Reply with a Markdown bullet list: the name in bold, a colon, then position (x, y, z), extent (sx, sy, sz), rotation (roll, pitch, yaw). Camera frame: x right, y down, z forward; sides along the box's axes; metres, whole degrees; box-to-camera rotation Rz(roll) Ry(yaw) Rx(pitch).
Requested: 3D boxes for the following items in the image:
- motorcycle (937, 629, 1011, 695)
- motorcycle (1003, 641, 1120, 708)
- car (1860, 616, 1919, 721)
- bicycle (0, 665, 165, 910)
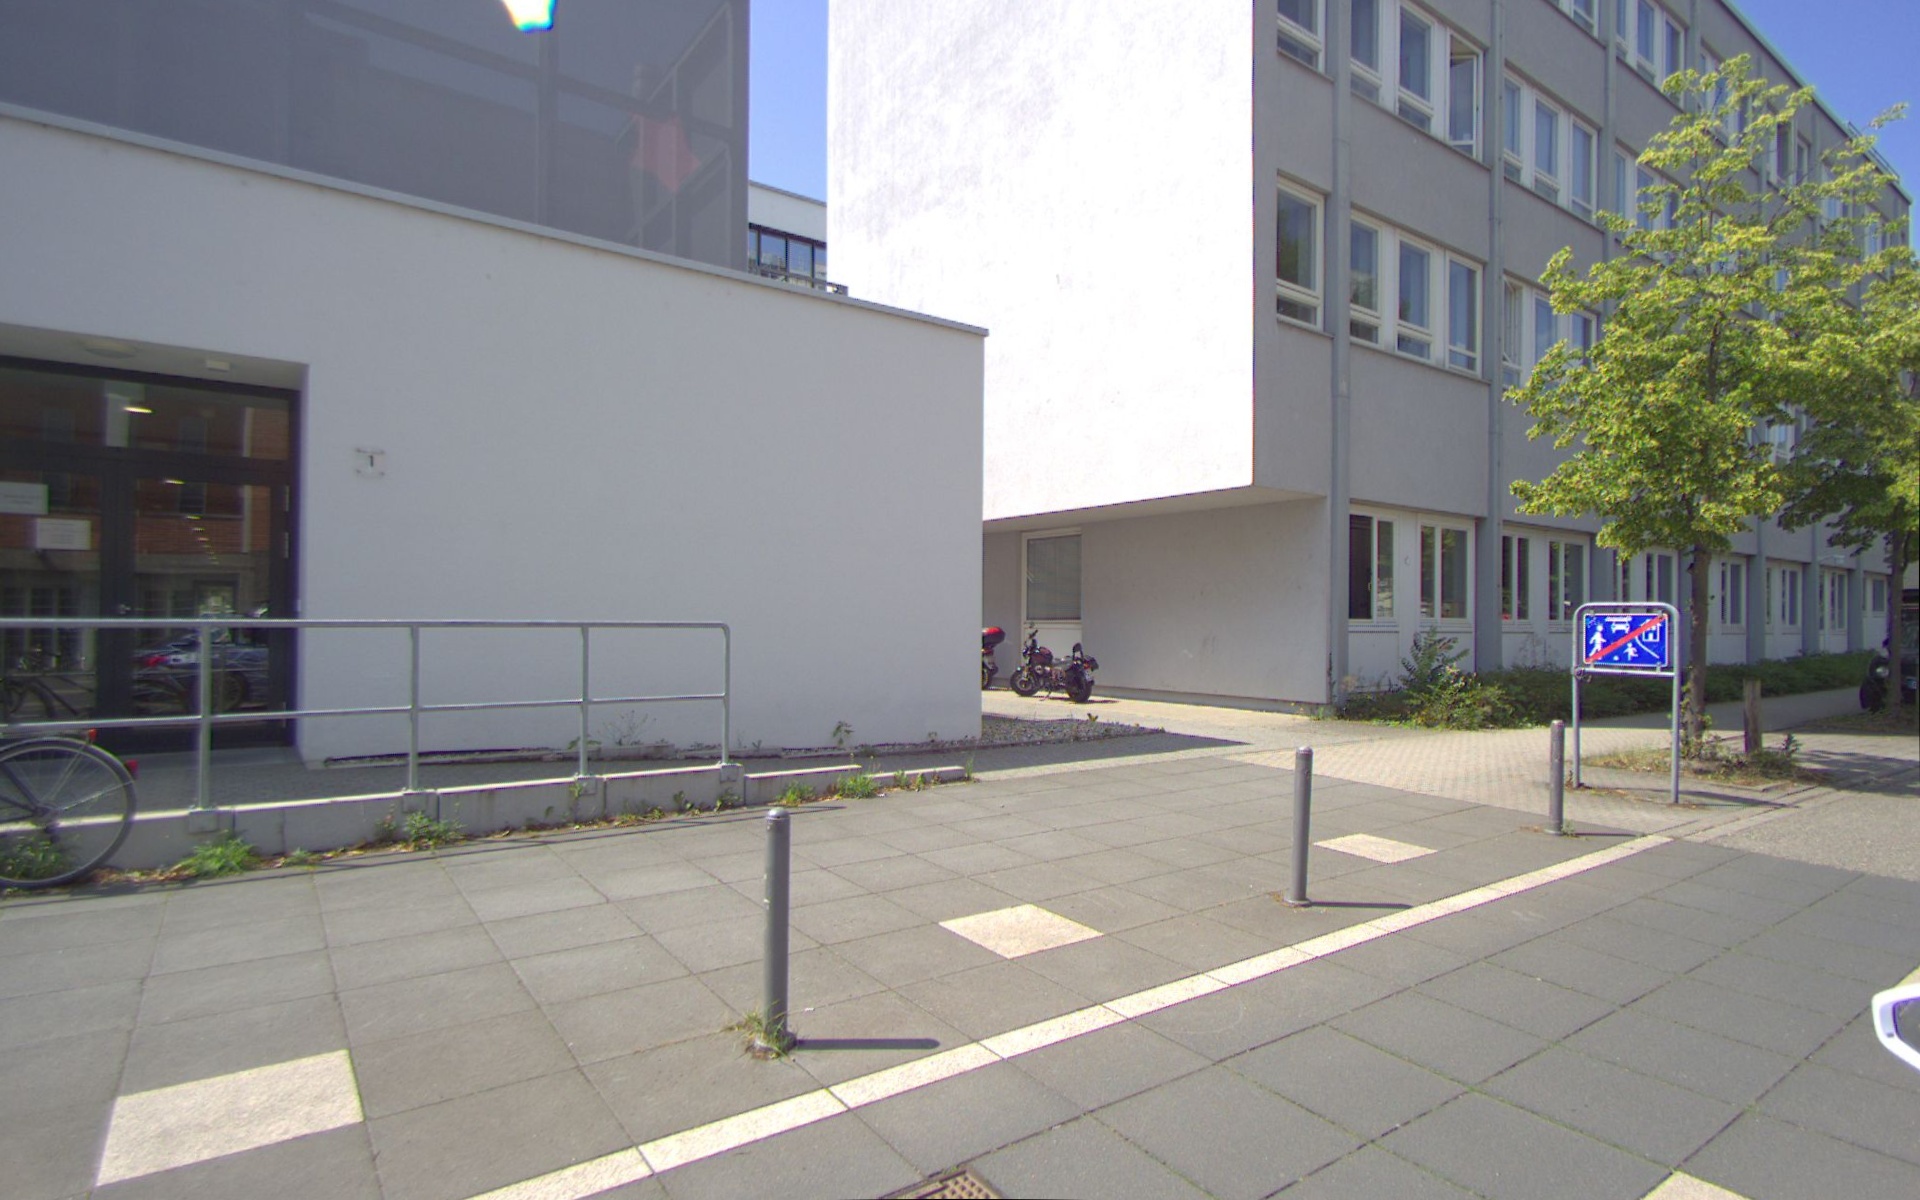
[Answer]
- **motorcycle**: position (0.264, 1.207, 20.103), extent (0.625, 1.263, 1.767), rotation (1, -1, -33)
- **motorcycle**: position (1.729, 1.260, 17.521), extent (0.873, 1.056, 2.162), rotation (1, -2, -34)
- **car**: position (16.174, 1.068, 16.296), extent (4.032, 1.585, 1.684), rotation (1, -1, -38)
- **bicycle**: position (-4.846, 0.861, 4.550), extent (1.877, 1.075, 0.540), rotation (1, -1, -32)
